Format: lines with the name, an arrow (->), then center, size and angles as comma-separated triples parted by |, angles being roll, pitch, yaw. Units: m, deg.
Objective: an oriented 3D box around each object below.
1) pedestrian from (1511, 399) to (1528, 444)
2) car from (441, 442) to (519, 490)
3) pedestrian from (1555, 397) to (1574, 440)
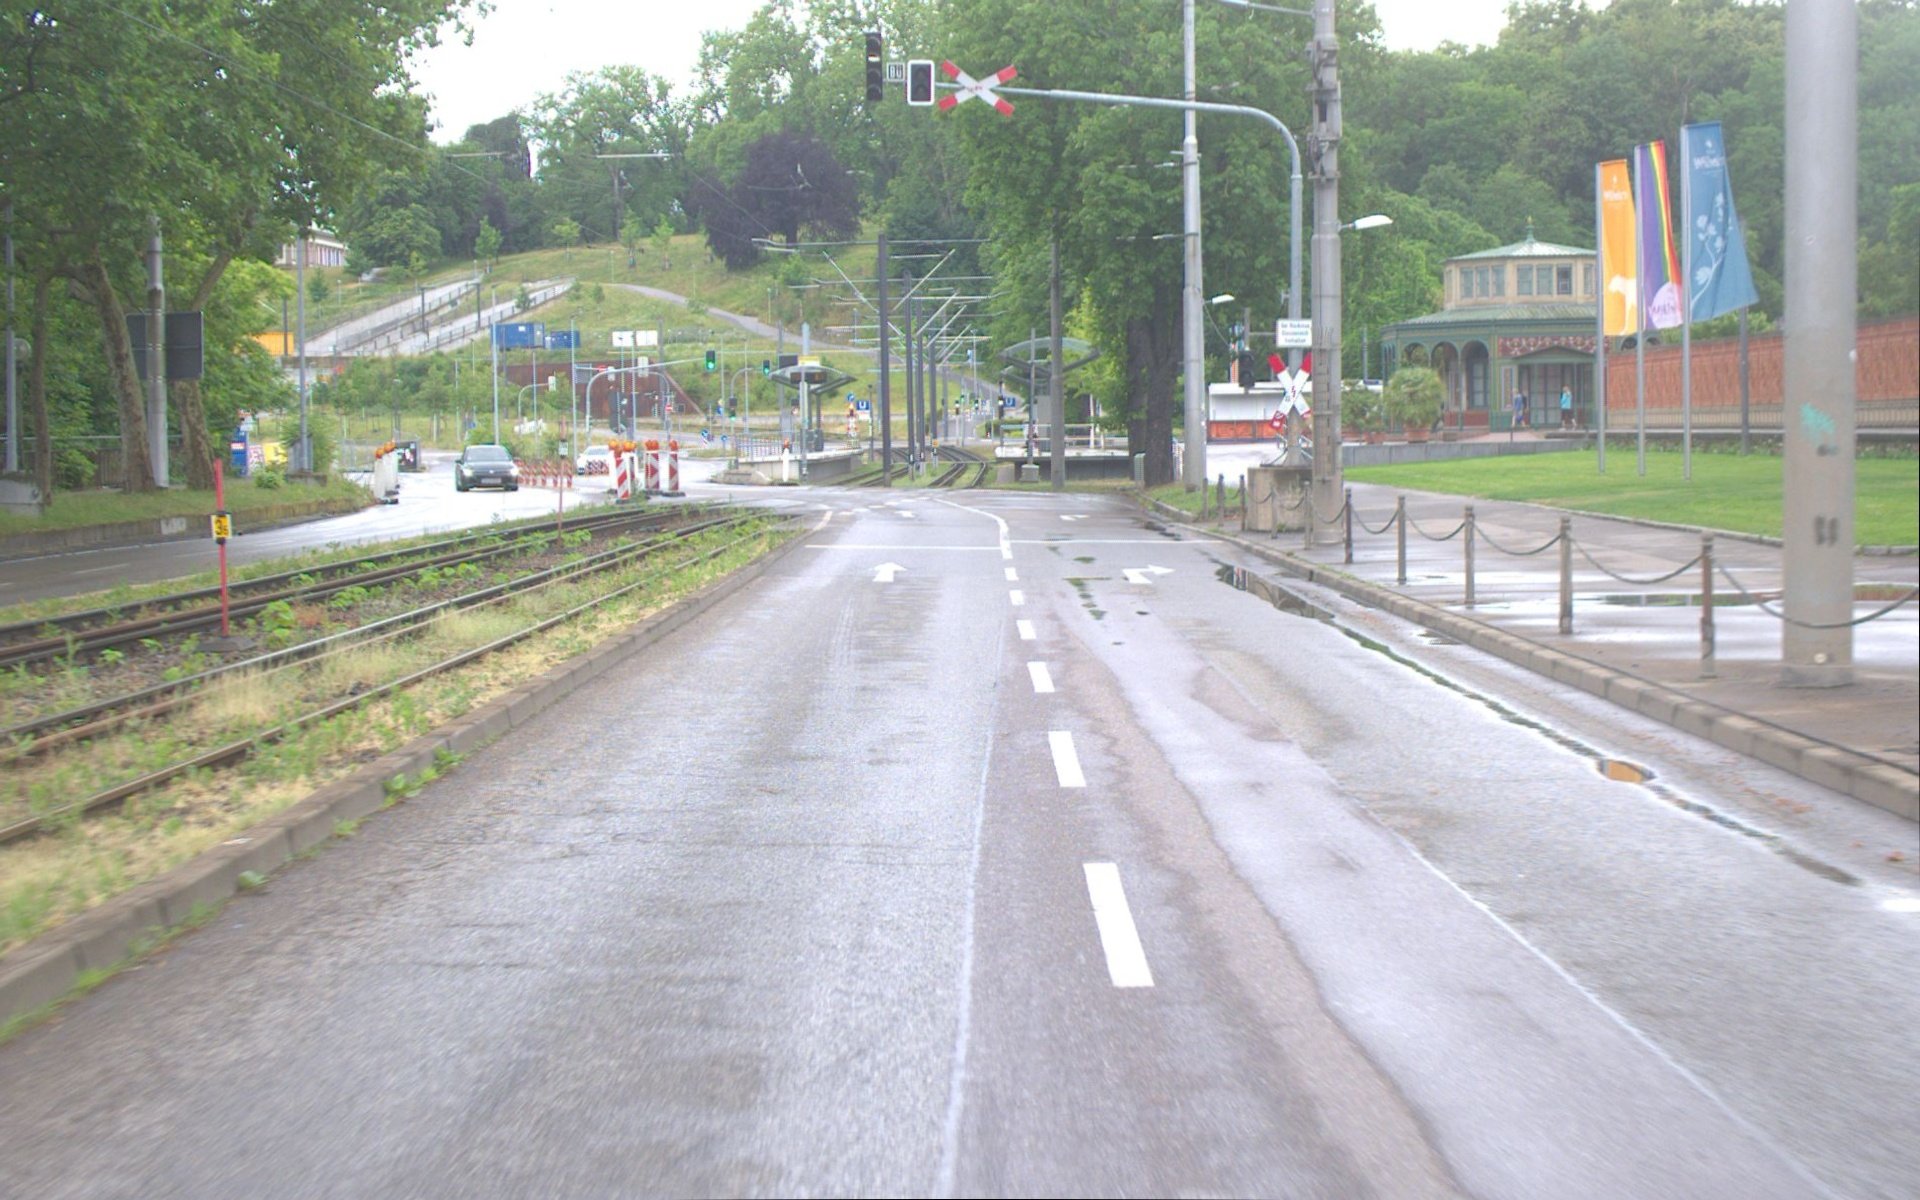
pedestrian -> 21.498, -6.863, 132.087 | 0.531, 1.704, 0.695 | 2, 1, 12
car -> -15.247, -4.247, 109.019 | 1.746, 1.425, 4.562 | -3, 3, -16
pedestrian -> 23.025, -6.915, 130.961 | 0.551, 1.651, 0.468 | 1, 2, 35
